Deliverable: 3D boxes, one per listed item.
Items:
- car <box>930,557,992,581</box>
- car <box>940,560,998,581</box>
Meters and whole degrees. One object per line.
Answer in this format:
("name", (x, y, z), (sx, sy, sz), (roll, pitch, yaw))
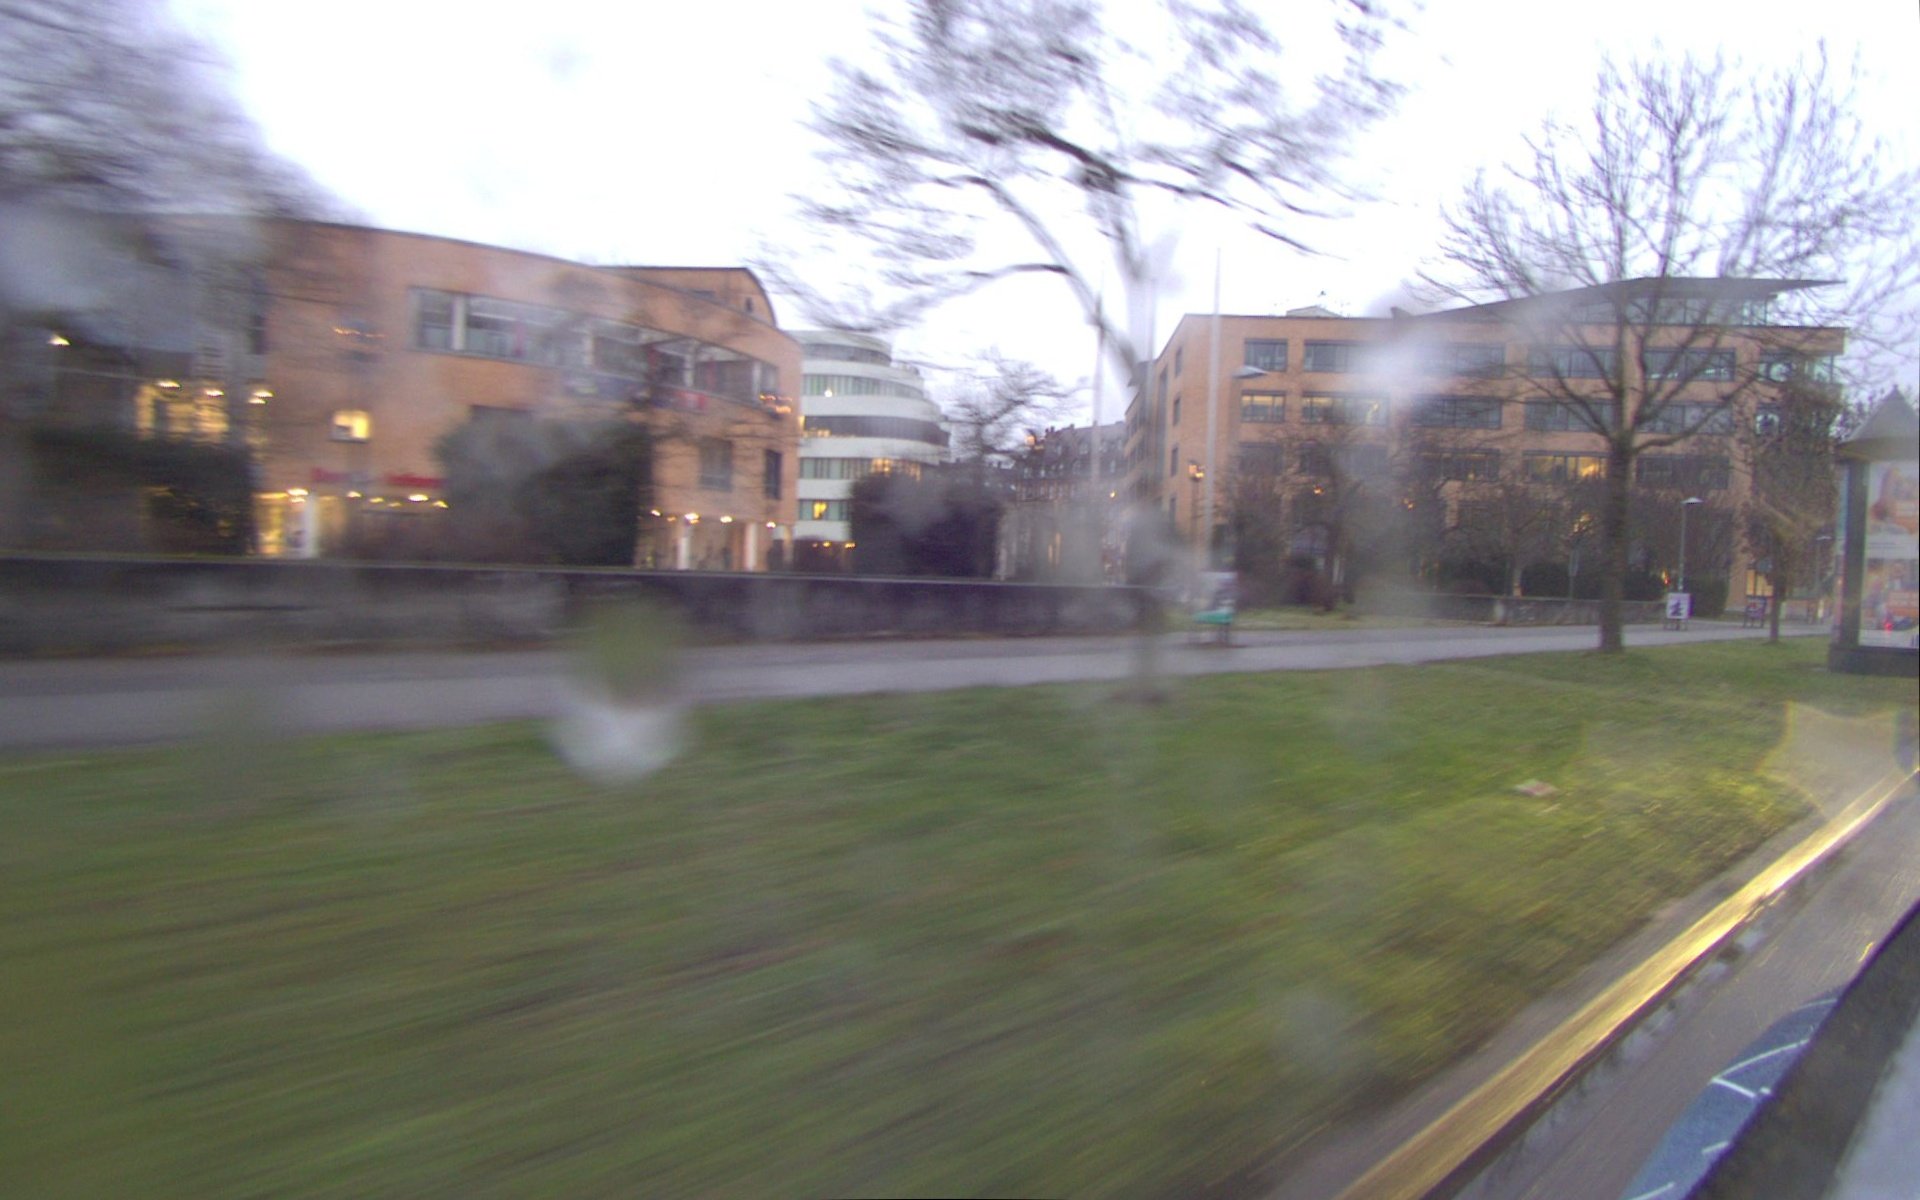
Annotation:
("car", (0.044, -2.210, 71.096), (4.176, 1.472, 1.801), (3, 3, -2))
("car", (0.623, -2.186, 74.864), (4.176, 1.366, 1.801), (3, 3, -2))
